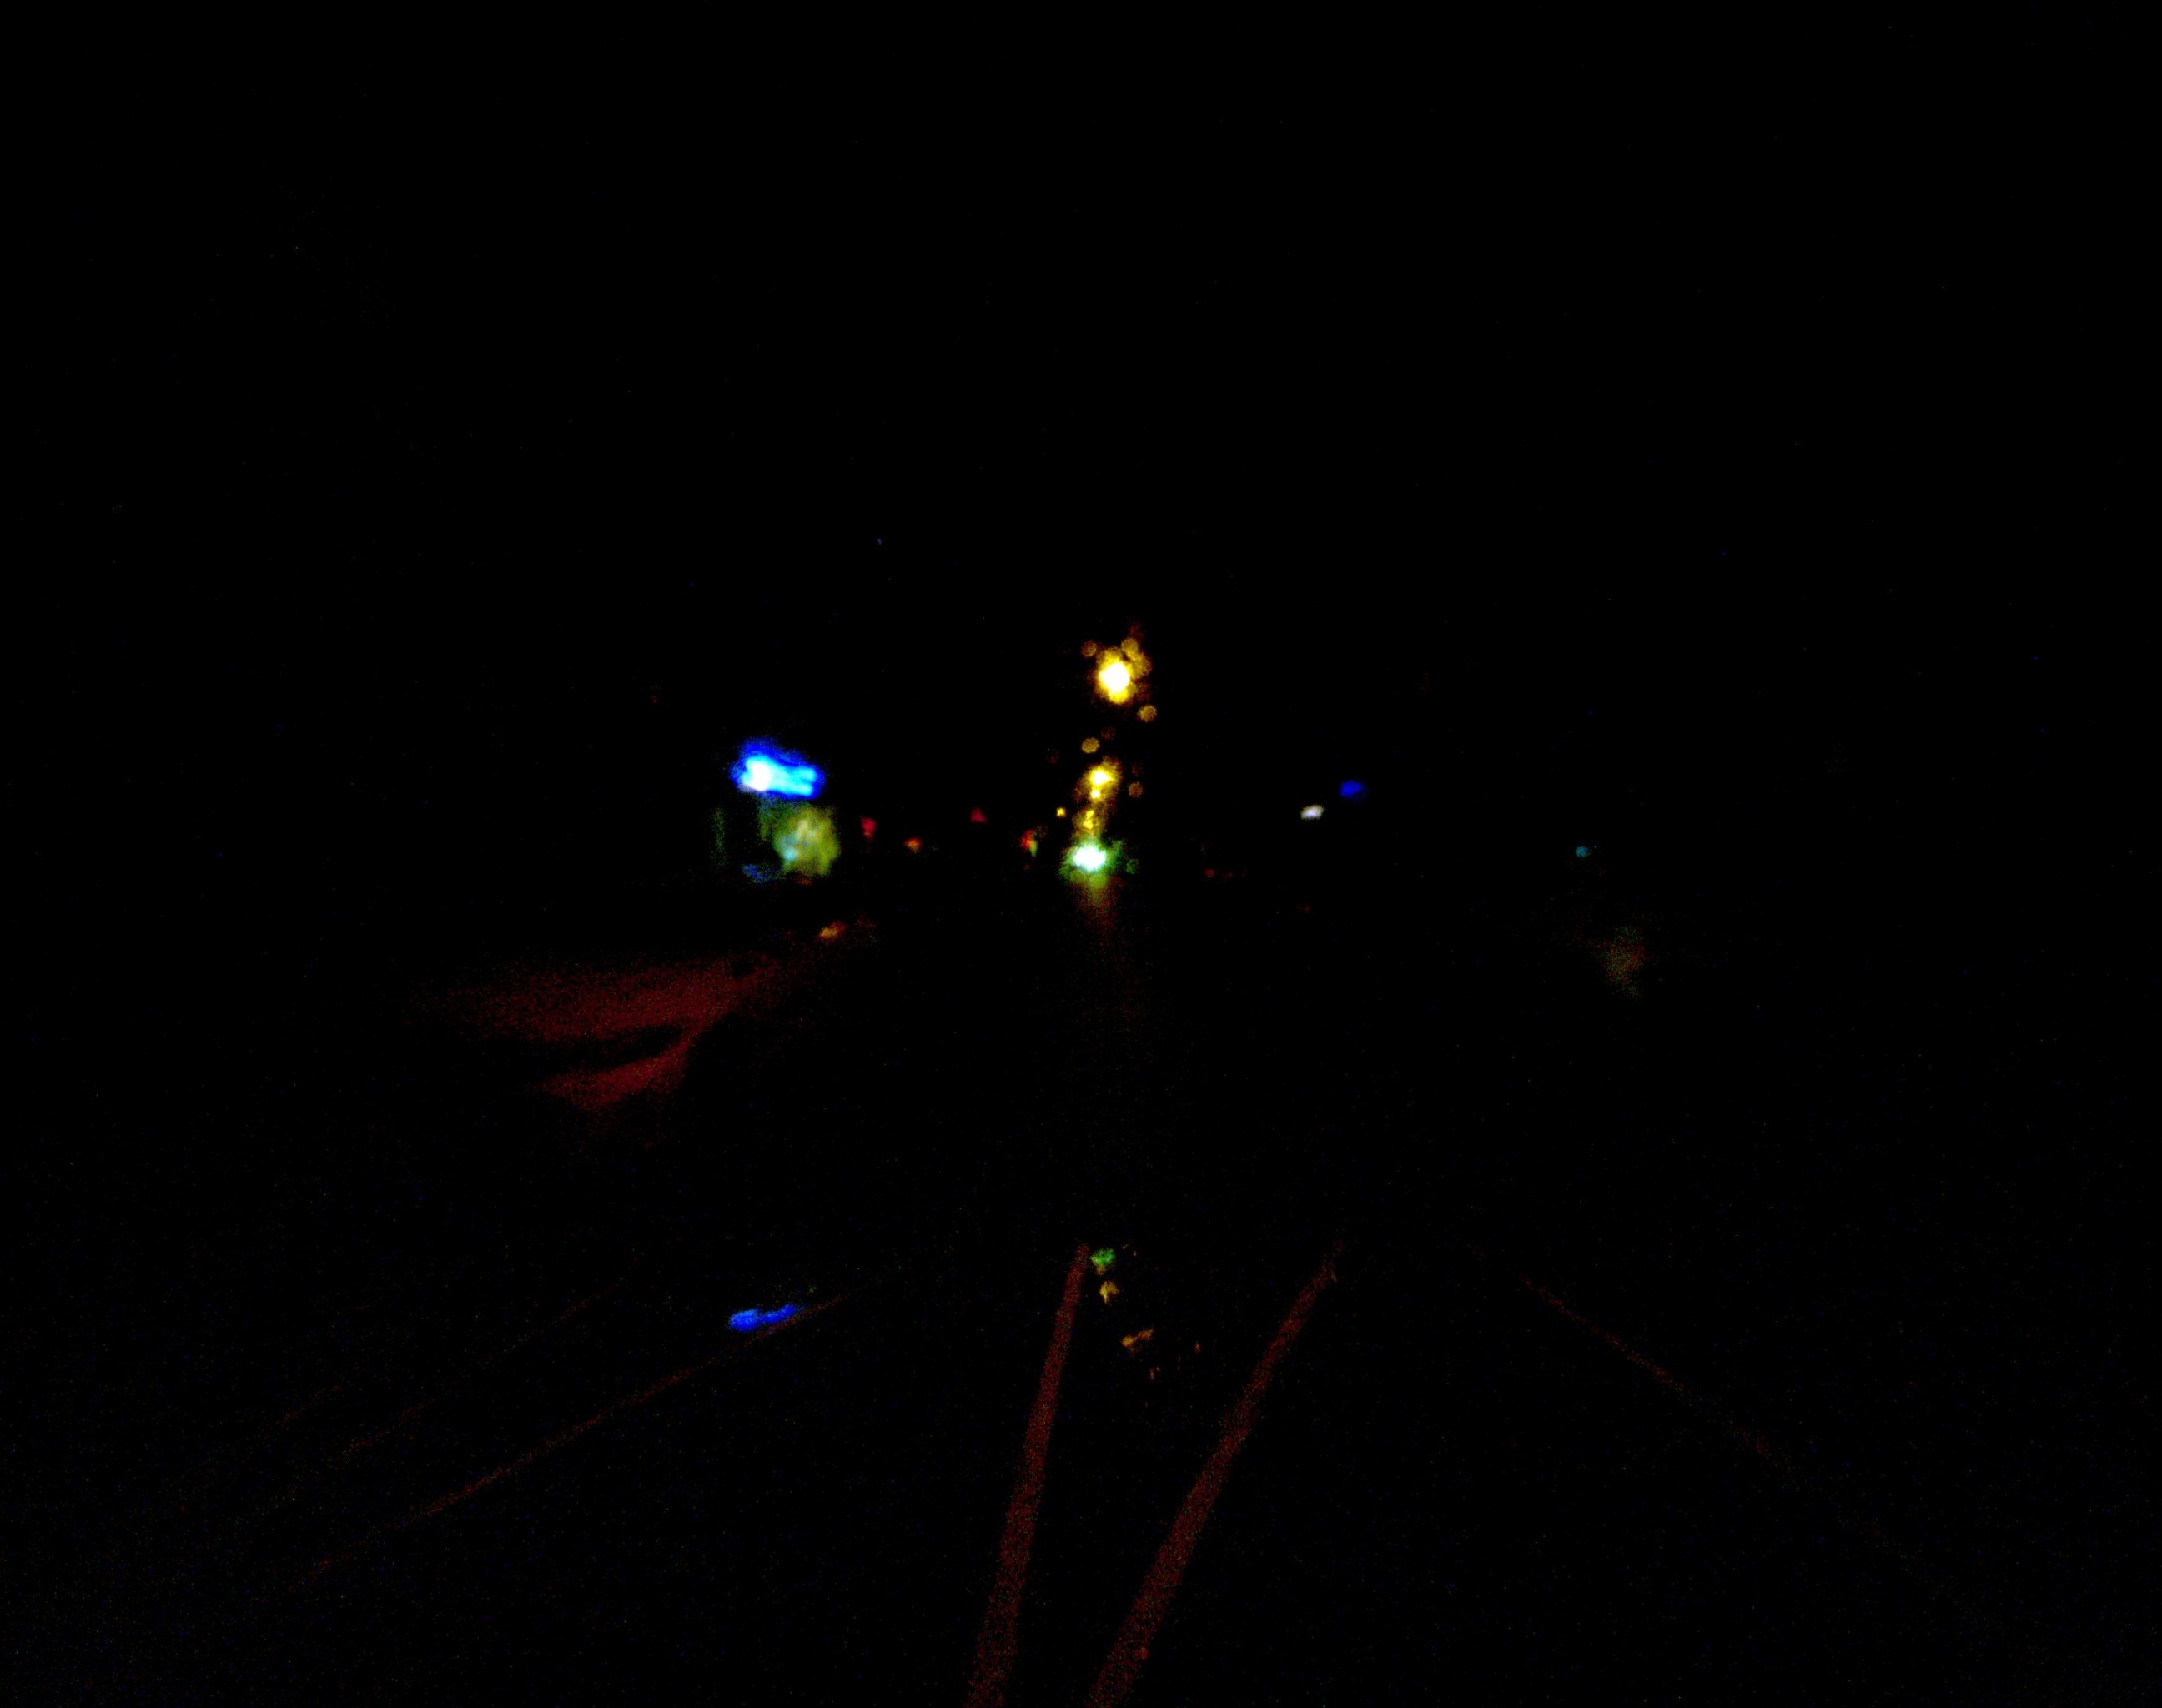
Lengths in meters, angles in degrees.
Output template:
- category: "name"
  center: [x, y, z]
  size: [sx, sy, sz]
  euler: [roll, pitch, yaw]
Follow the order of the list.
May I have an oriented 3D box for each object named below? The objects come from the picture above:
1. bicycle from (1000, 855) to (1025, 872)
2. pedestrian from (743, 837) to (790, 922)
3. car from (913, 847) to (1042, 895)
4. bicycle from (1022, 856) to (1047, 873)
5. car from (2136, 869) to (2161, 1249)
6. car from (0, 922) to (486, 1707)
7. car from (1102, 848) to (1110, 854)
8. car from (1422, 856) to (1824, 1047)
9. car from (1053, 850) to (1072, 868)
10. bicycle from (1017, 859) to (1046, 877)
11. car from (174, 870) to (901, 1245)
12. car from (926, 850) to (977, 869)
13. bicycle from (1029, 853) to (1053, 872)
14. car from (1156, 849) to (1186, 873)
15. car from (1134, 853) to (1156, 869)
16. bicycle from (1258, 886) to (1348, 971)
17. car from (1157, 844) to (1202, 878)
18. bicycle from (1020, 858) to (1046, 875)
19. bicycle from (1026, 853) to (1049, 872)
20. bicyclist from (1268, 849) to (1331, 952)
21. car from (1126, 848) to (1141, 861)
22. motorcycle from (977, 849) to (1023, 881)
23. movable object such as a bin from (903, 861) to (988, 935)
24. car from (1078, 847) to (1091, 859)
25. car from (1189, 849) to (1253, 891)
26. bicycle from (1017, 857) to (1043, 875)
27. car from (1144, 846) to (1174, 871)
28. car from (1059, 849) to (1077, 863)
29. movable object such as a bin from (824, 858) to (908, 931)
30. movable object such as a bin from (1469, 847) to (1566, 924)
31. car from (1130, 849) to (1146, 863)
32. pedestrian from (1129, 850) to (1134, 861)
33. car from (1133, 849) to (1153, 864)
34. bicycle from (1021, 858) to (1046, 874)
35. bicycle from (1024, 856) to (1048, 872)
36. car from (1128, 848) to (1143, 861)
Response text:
- category: "bicycle"
  center: [-4.454, 0.630, 49.561]
  size: [1.533, 0.947, 0.366]
  euler: [5, 2, -3]
- category: "pedestrian"
  center: [-6.799, 0.539, 16.436]
  size: [0.704, 1.778, 0.624]
  euler: [1, 0, 4]
- category: "car"
  center: [-3.790, 0.609, 28.343]
  size: [4.524, 1.522, 1.780]
  euler: [3, 1, 0]
- category: "bicycle"
  center: [-3.119, 0.709, 50.814]
  size: [1.532, 1.018, 0.366]
  euler: [5, 2, 4]
- category: "car"
  center: [5.316, 0.854, 1.124]
  size: [1.779, 1.563, 4.134]
  euler: [-1, 1, 1]
- category: "car"
  center: [-2.604, 0.977, 0.366]
  size: [1.694, 1.490, 3.889]
  euler: [-1, 1, -3]
- category: "car"
  center: [6.055, -0.739, 184.150]
  size: [1.877, 1.386, 4.075]
  euler: [-1, -1, 4]
- category: "car"
  center: [5.340, 0.819, 8.178]
  size: [1.676, 1.482, 3.721]
  euler: [-2, 1, 1]
- category: "car"
  center: [-1.822, 0.444, 75.326]
  size: [1.676, 1.712, 3.856]
  euler: [0, 1, 1]
- category: "bicycle"
  center: [-3.039, 0.827, 46.414]
  size: [1.672, 0.947, 0.366]
  euler: [5, 2, 8]
- category: "car"
  center: [-2.848, 0.925, 5.465]
  size: [1.998, 1.455, 4.416]
  euler: [-1, 1, 1]
- category: "car"
  center: [-11.352, 0.445, 66.733]
  size: [3.996, 1.476, 1.895]
  euler: [-2, 1, 2]
- category: "bicycle"
  center: [-2.814, 0.587, 53.698]
  size: [1.532, 1.195, 0.366]
  euler: [5, 2, 3]
- category: "car"
  center: [5.786, 0.439, 49.319]
  size: [1.573, 1.451, 3.720]
  euler: [-1, 0, 1]
- category: "car"
  center: [5.916, 0.614, 70.323]
  size: [1.731, 1.384, 4.555]
  euler: [-1, 0, 1]
- category: "bicycle"
  center: [3.388, 1.093, 11.834]
  size: [0.729, 1.066, 2.348]
  euler: [0, 1, 1]
- category: "car"
  center: [5.554, 0.373, 43.423]
  size: [2.001, 1.819, 5.206]
  euler: [-1, 0, 1]
- category: "bicycle"
  center: [-3.061, 0.766, 48.370]
  size: [1.533, 0.947, 0.366]
  euler: [5, 2, -3]
- category: "bicycle"
  center: [-3.044, 0.607, 53.250]
  size: [1.532, 1.195, 0.366]
  euler: [5, 2, -1]
- category: "bicyclist"
  center: [3.389, 0.699, 11.846]
  size: [0.720, 1.547, 0.895]
  euler: [0, 1, 0]
- category: "car"
  center: [6.348, 0.074, 92.289]
  size: [1.697, 1.470, 3.964]
  euler: [-1, -1, 2]
- category: "motorcycle"
  center: [-4.386, 0.589, 41.190]
  size: [2.294, 1.579, 0.866]
  euler: [3, 1, 0]
- category: "movable object such as a bin"
  center: [-2.841, 0.881, 15.936]
  size: [1.344, 1.421, 1.198]
  euler: [-1, 1, -36]
- category: "car"
  center: [0.557, -0.176, 111.196]
  size: [1.846, 1.687, 4.162]
  euler: [0, 1, 1]
- category: "car"
  center: [5.626, 0.581, 31.032]
  size: [1.771, 1.474, 4.772]
  euler: [-4, 0, 1]
- category: "bicycle"
  center: [-3.170, 0.735, 47.178]
  size: [1.531, 0.947, 0.366]
  euler: [5, 2, 8]
- category: "car"
  center: [5.917, 0.349, 58.339]
  size: [1.907, 1.819, 4.829]
  euler: [-1, 0, 1]
- category: "car"
  center: [-1.458, 0.230, 86.594]
  size: [1.846, 1.498, 4.162]
  euler: [0, 1, 1]
- category: "movable object such as a bin"
  center: [-4.384, 0.804, 15.560]
  size: [1.311, 1.421, 1.051]
  euler: [-1, 1, 10]
- category: "movable object such as a bin"
  center: [8.563, 0.586, 14.983]
  size: [1.104, 1.446, 1.378]
  euler: [0, 1, -1]
- category: "car"
  center: [6.181, 0.159, 82.078]
  size: [1.531, 1.445, 3.383]
  euler: [-1, 0, 1]
- category: "pedestrian"
  center: [9.433, 0.224, 141.765]
  size: [0.776, 2.002, 0.587]
  euler: [-3, 1, 1]
- category: "car"
  center: [6.194, 0.225, 76.435]
  size: [1.731, 1.445, 4.272]
  euler: [-1, 0, 1]
- category: "bicycle"
  center: [-3.025, 0.774, 48.875]
  size: [1.533, 0.947, 0.366]
  euler: [5, 2, -3]
- category: "bicycle"
  center: [-3.073, 0.685, 52.120]
  size: [1.532, 1.018, 0.366]
  euler: [5, 2, -1]
- category: "car"
  center: [6.379, 0.105, 88.259]
  size: [1.696, 1.470, 3.385]
  euler: [-1, -1, 5]
